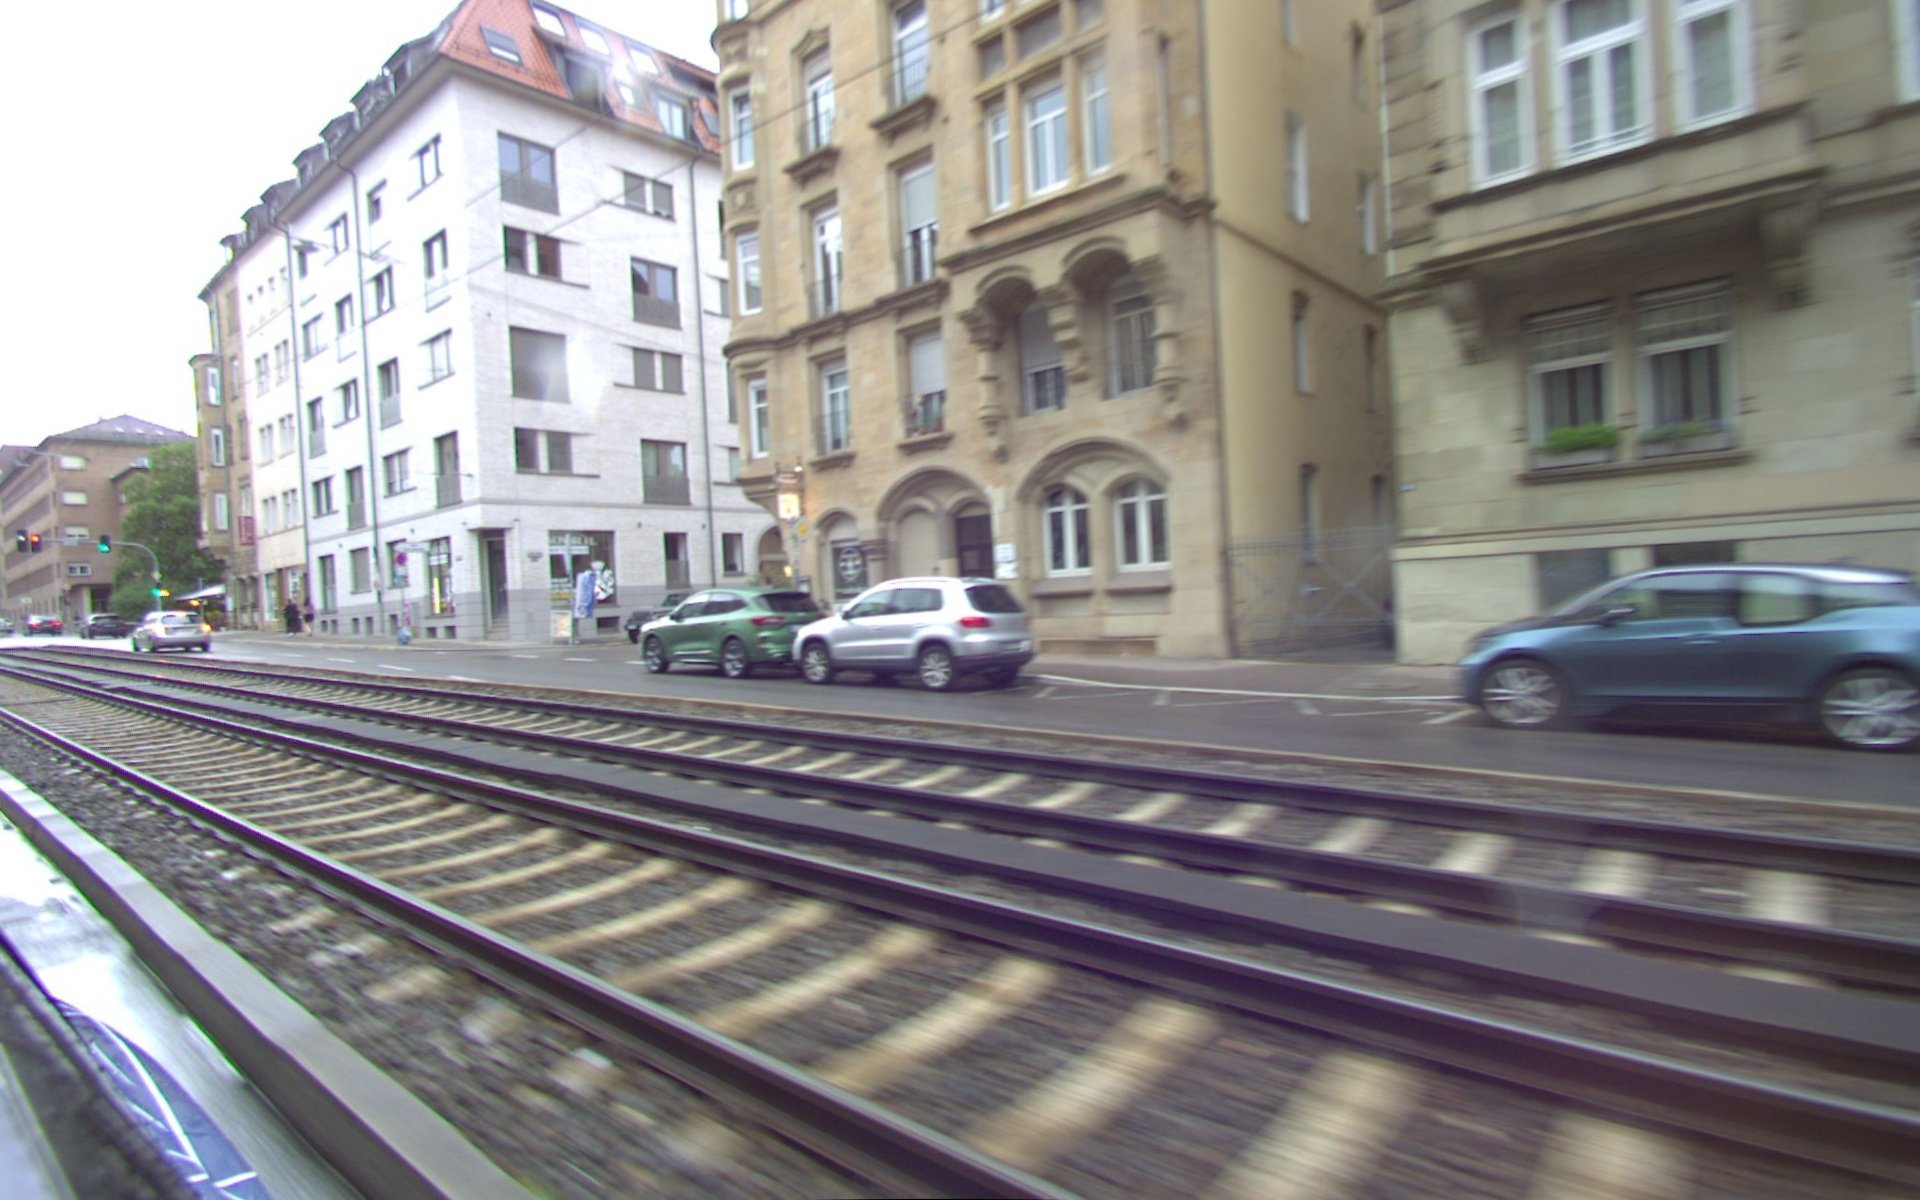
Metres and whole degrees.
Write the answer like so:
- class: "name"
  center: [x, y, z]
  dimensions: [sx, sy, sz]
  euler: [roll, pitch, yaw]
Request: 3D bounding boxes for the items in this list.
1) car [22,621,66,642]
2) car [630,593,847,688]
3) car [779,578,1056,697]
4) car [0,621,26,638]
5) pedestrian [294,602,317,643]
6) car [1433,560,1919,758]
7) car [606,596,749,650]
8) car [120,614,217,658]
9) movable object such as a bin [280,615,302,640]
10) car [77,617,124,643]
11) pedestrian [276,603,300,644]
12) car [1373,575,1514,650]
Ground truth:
- class: "car"
  center: [-67.677, 2.312, 74.735]
  dimensions: [4.860, 1.468, 2.065]
  euler: [-2, -1, 43]
- class: "car"
  center: [-4.307, 0.726, 19.260]
  dimensions: [4.430, 1.614, 1.838]
  euler: [-2, -1, 43]
- class: "car"
  center: [-0.776, 0.561, 16.170]
  dimensions: [4.312, 1.665, 1.840]
  euler: [-2, -1, 40]
- class: "car"
  center: [-87.506, 2.731, 93.223]
  dimensions: [4.642, 1.472, 1.694]
  euler: [-2, 0, 42]
- class: "pedestrian"
  center: [-28.723, 0.984, 44.389]
  dimensions: [0.658, 1.731, 0.595]
  euler: [-2, 2, 44]
- class: "car"
  center: [6.902, 0.479, 9.435]
  dimensions: [4.167, 1.519, 1.851]
  euler: [-1, -1, 41]
- class: "car"
  center: [-10.006, 0.771, 36.152]
  dimensions: [2.032, 1.741, 4.647]
  euler: [-2, 0, 38]
- class: "car"
  center: [-28.796, 1.294, 36.787]
  dimensions: [4.291, 1.468, 1.961]
  euler: [-2, -1, 40]
- class: "movable object such as a bin"
  center: [-31.574, 1.299, 47.747]
  dimensions: [0.563, 1.088, 0.623]
  euler: [-2, 4, 41]
- class: "car"
  center: [-50.031, 1.745, 58.887]
  dimensions: [3.781, 1.398, 1.686]
  euler: [-2, -1, 43]
- class: "pedestrian"
  center: [-29.171, 1.028, 43.943]
  dimensions: [0.746, 1.731, 0.595]
  euler: [-2, 2, 44]
- class: "car"
  center: [10.385, 0.231, 21.622]
  dimensions: [1.731, 1.449, 3.576]
  euler: [-2, 0, 43]
